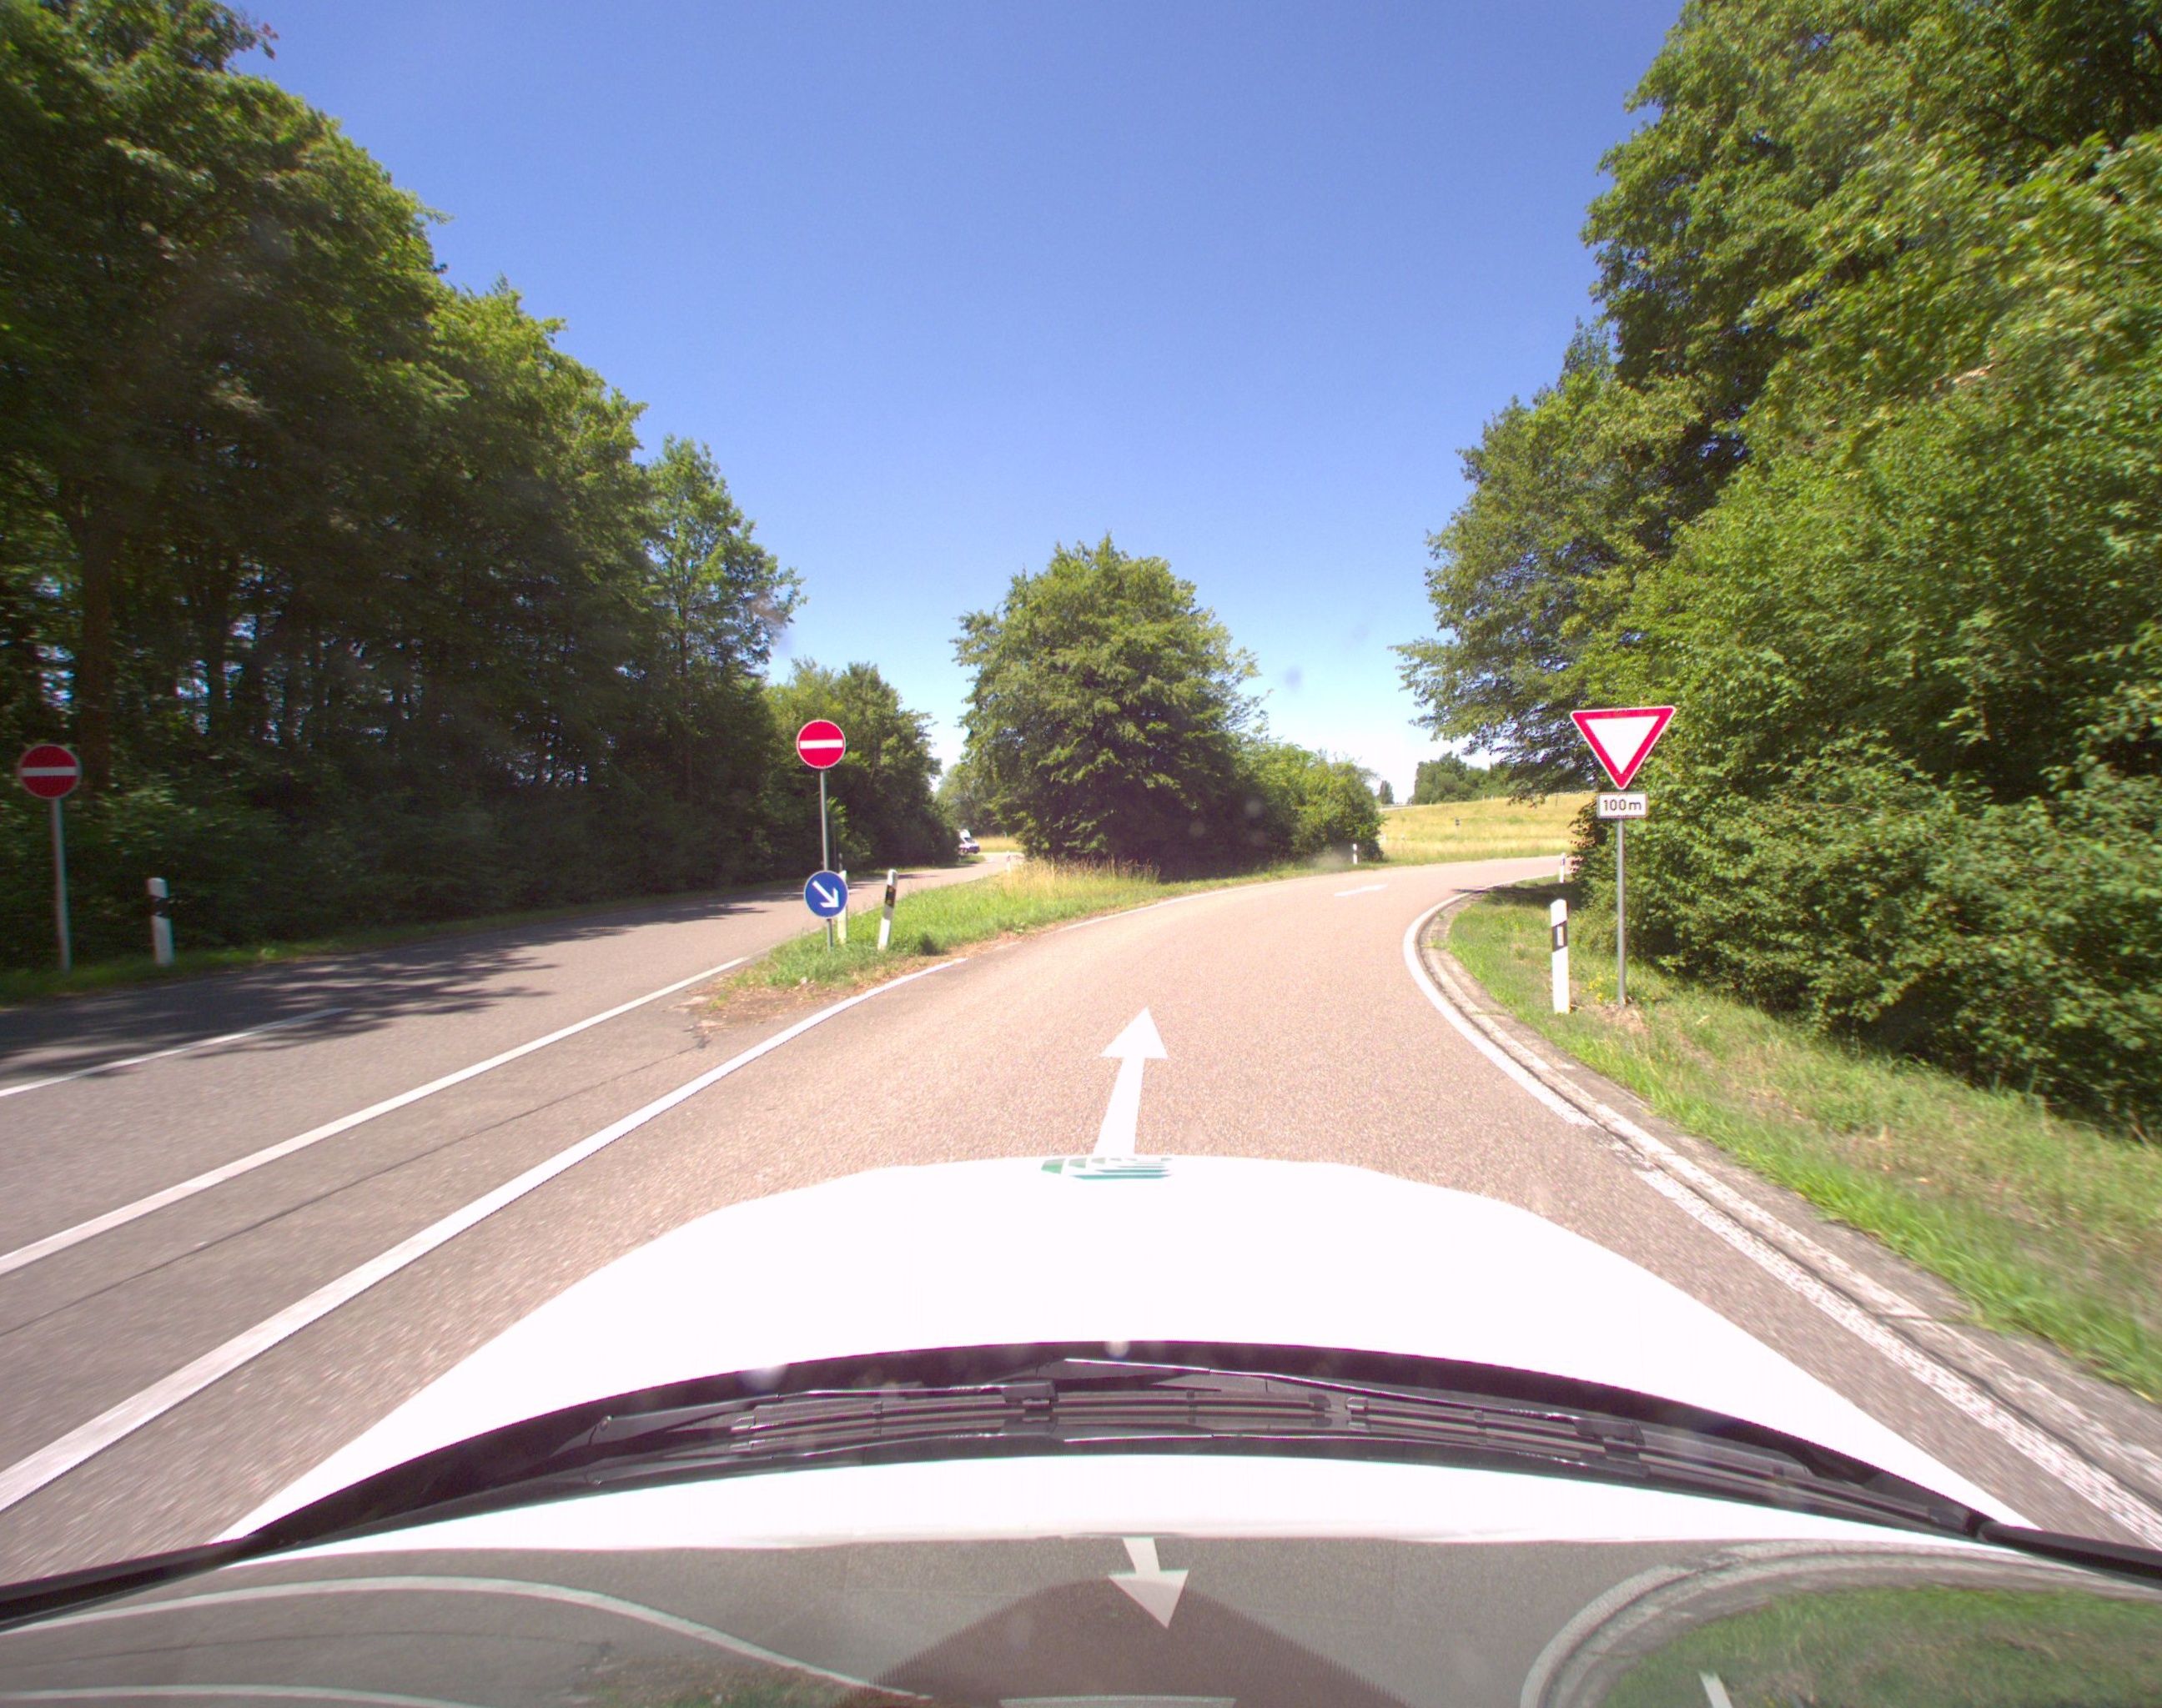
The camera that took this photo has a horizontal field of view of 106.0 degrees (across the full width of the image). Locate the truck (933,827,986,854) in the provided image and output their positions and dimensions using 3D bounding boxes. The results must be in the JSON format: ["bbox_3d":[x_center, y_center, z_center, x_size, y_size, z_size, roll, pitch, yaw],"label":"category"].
[{"bbox_3d":[-14.365,-1.568,95.954,5.822,2.984,2.261,-1,1,25],"label":"truck"}]
